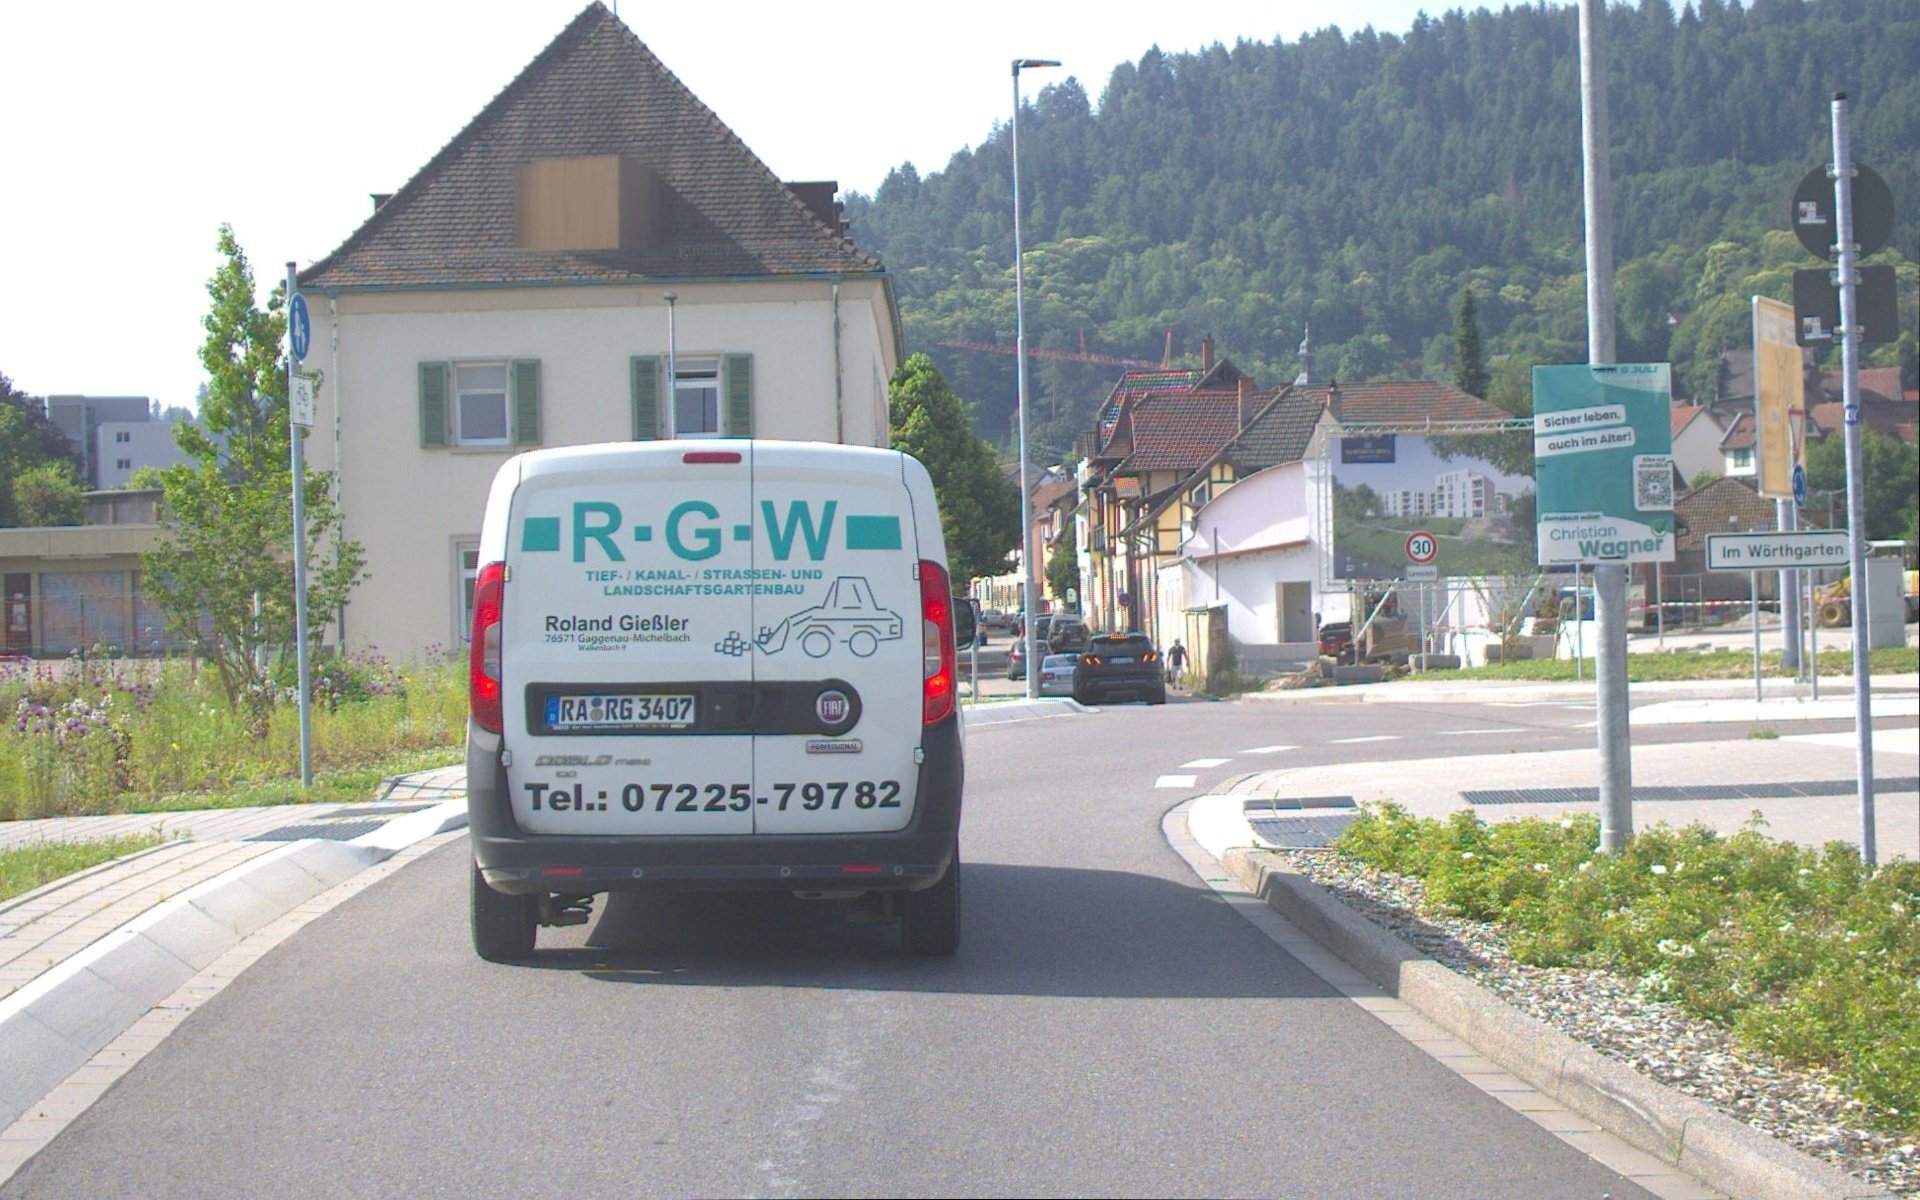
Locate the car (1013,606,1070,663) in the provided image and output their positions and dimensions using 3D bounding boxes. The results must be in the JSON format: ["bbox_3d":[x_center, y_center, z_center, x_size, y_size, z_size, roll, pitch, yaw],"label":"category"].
[{"bbox_3d":[3.040,1.283,127.902,1.993,2.007,4.000,-3,-1,2],"label":"car"}]

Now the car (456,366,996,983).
[{"bbox_3d":[-0.807,0.209,13.863,1.806,2.070,4.604,0,1,-1],"label":"car"}]

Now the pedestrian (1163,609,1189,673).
[{"bbox_3d":[6.843,1.294,108.969,0.691,2.007,0.636,-3,-1,-1],"label":"pedestrian"}]

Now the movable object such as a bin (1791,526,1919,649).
[{"bbox_3d":[14.508,-0.212,54.417,2.444,1.838,1.428,-3,-1,9],"label":"movable object such as a bin"}]

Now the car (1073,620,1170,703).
[{"bbox_3d":[3.525,1.309,74.479,1.881,1.678,3.999,-3,-1,5],"label":"car"}]

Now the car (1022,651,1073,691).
[{"bbox_3d":[2.392,1.937,94.247,1.306,1.000,3.090,-3,-1,1],"label":"car"}]
